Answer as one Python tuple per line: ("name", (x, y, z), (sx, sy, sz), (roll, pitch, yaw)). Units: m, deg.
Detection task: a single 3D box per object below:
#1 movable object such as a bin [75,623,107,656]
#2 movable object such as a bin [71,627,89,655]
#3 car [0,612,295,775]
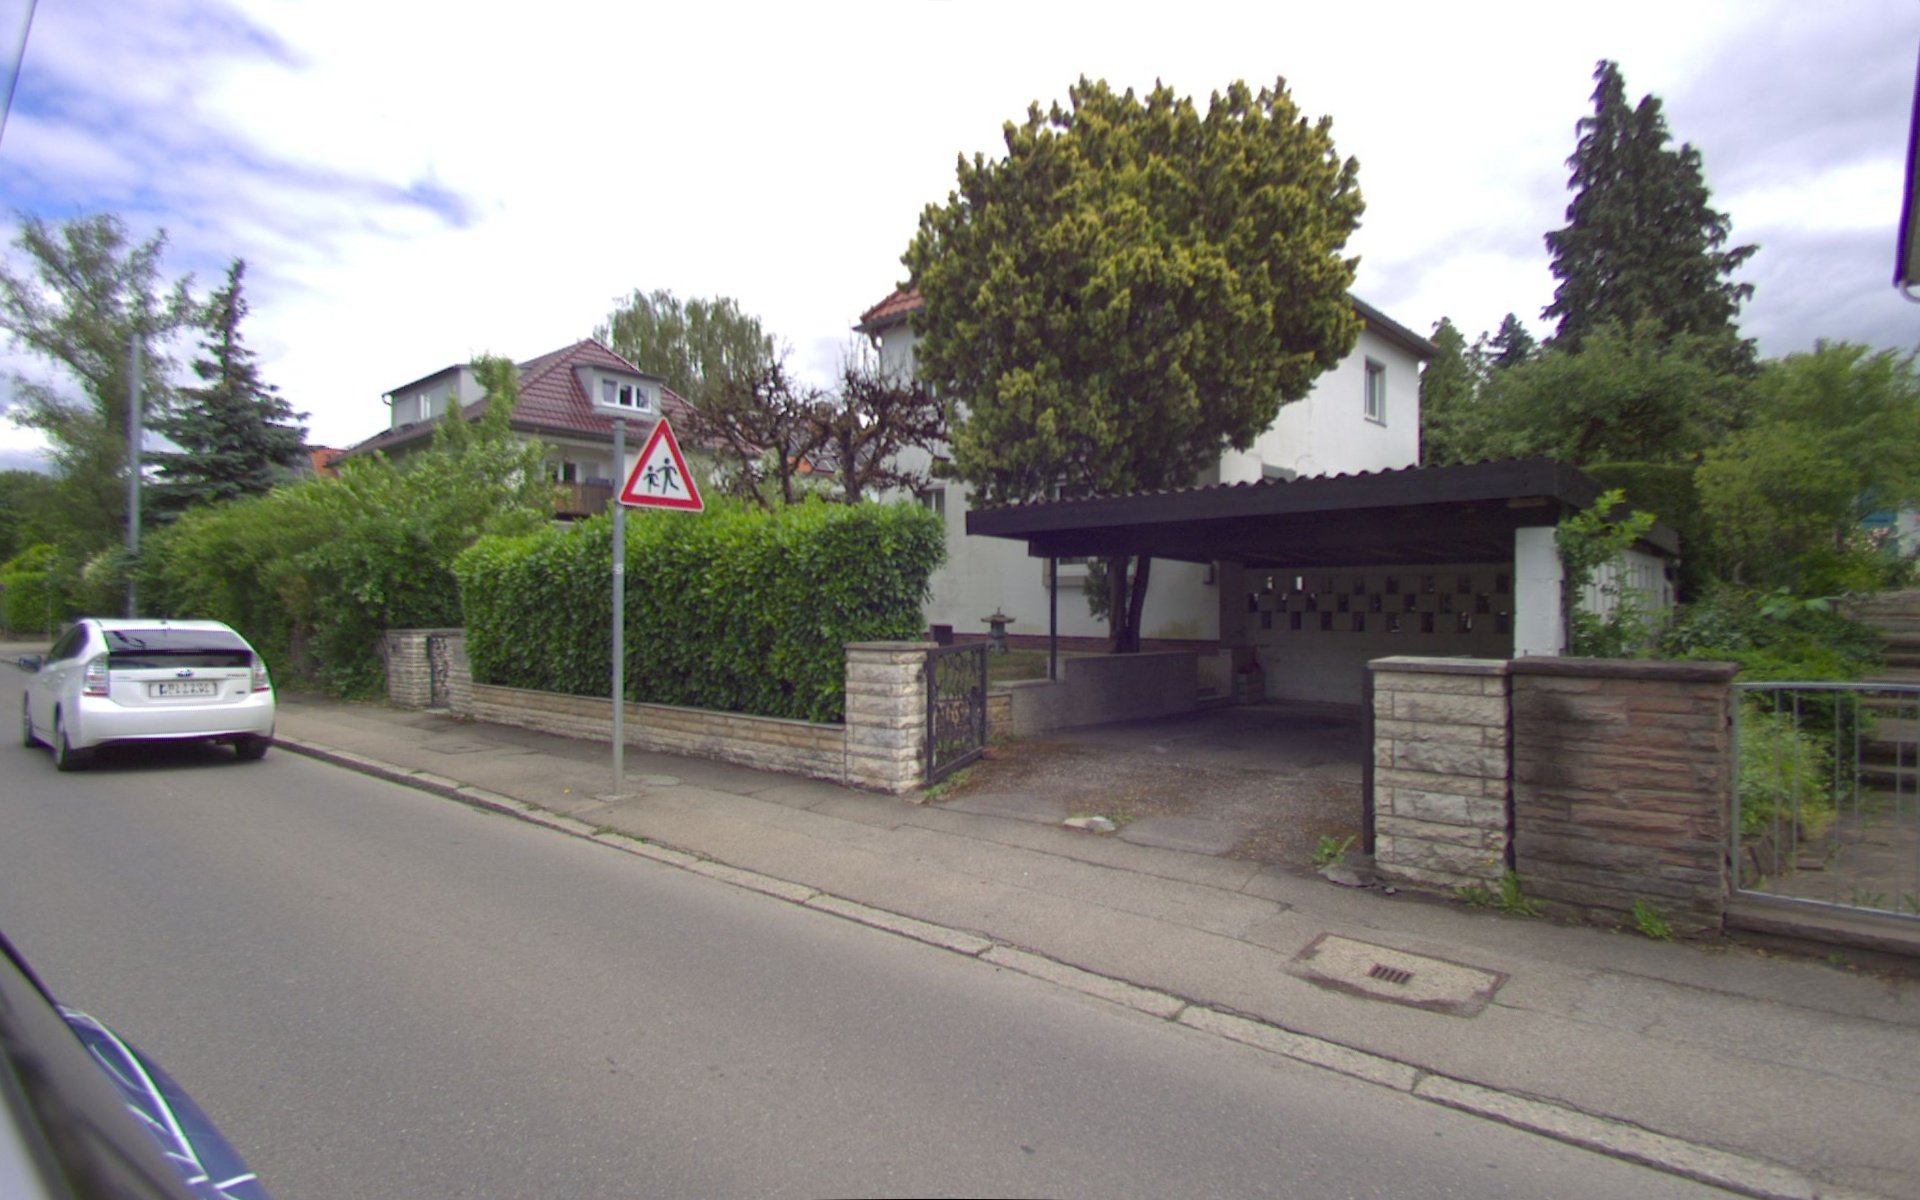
("movable object such as a bin", (-31.461, 1.409, 36.652), (0.722, 1.134, 0.720), (-1, 2, 39))
("movable object such as a bin", (-32.080, 1.495, 36.905), (0.511, 0.958, 0.374), (-1, 2, 39))
("car", (-9.128, 0.905, 11.191), (4.279, 1.462, 1.835), (-1, -3, 41))
